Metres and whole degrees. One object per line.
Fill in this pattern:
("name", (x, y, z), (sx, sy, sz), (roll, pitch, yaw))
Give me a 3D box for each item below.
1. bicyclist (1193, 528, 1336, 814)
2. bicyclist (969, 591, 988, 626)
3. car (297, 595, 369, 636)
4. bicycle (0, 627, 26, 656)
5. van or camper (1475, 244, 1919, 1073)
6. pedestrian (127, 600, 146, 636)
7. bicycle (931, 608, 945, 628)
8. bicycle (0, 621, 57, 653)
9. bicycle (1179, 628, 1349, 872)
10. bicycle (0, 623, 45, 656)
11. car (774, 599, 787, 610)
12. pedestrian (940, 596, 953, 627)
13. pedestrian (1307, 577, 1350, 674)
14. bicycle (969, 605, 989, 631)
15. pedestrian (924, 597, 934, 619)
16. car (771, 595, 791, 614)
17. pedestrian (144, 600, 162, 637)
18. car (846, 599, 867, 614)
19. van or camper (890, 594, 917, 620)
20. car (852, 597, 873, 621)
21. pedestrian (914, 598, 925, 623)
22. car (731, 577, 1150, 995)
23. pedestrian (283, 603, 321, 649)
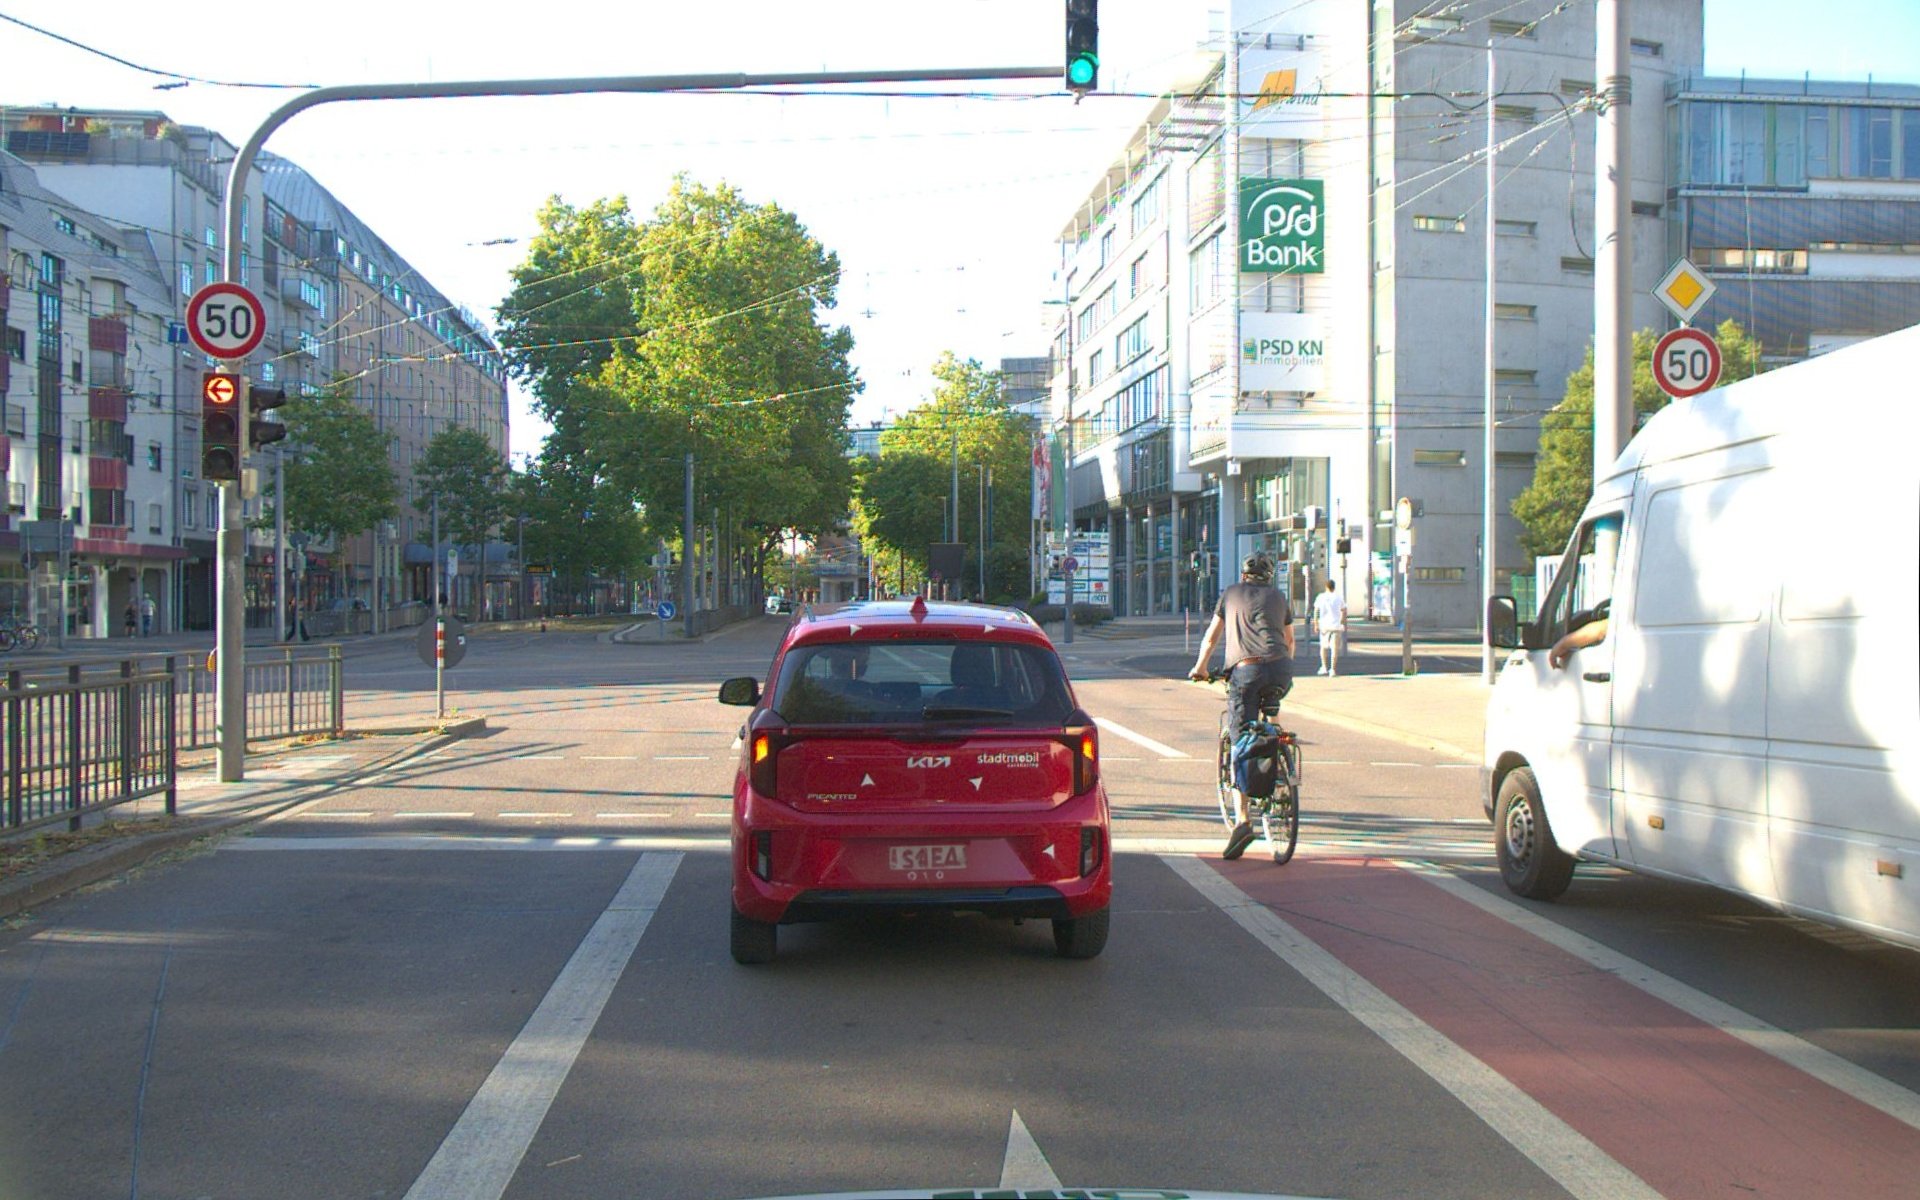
("bicyclist", (1.821, 0.403, 10.019), (0.637, 1.631, 1.088), (0, 0, -1))
("bicyclist", (0.854, 0.397, 77.561), (0.708, 1.631, 1.087), (-3, 0, -6))
("car", (-27.433, 0.659, 72.502), (1.917, 1.702, 4.255), (0, 0, -6))
("bicycle", (-29.448, 1.260, 50.262), (1.806, 0.869, 0.553), (0, 0, -4))
("van or camper", (4.117, 0.198, 6.359), (1.930, 2.763, 6.300), (1, 0, -4))
("pedestrian", (-34.514, 0.754, 69.308), (0.524, 1.520, 0.586), (0, 0, -9))
("bicycle", (-1.213, 1.001, 91.989), (0.510, 0.991, 2.199), (-4, 1, -6))
("bicycle", (-29.541, 1.163, 52.143), (1.808, 1.002, 0.552), (0, 0, -8))
("bicycle", (1.810, 0.845, 10.116), (0.637, 1.303, 1.965), (0, 0, -1))
("bicycle", (-29.598, 1.220, 51.526), (1.808, 1.002, 0.552), (0, 0, -8))
("car", (-27.778, 0.707, 255.381), (1.745, 1.561, 3.403), (0, 0, -10))
("pedestrian", (-0.750, 0.633, 91.795), (0.633, 1.710, 0.651), (0, 0, -3))
("pedestrian", (7.218, 0.496, 32.367), (0.761, 1.855, 1.216), (-1, 0, 15))
("bicycle", (0.879, 0.849, 77.586), (0.683, 1.117, 1.748), (-4, 1, -7))
("pedestrian", (-2.526, 0.650, 134.943), (0.873, 1.783, 0.841), (0, 0, -1))
("car", (-19.150, 0.466, 176.832), (1.956, 2.049, 3.992), (0, 0, -8))
("pedestrian", (-33.868, 0.766, 69.430), (0.524, 1.520, 0.586), (0, 0, -9))
("car", (-10.968, 0.645, 175.090), (1.745, 1.561, 3.504), (0, 0, -10))
("van or camper", (-4.540, 0.573, 132.197), (1.954, 2.024, 4.740), (0, 0, -4))
("car", (-7.506, 0.677, 126.982), (1.603, 1.831, 3.327), (-1, 0, -3))
("pedestrian", (-2.684, 0.716, 109.336), (0.629, 1.607, 0.723), (-4, 0, -4))
("car", (-0.217, 0.696, 7.960), (1.582, 1.561, 3.408), (0, 0, -5))
("pedestrian", (-22.819, 0.906, 57.357), (1.024, 1.571, 0.694), (-1, 0, 1))
